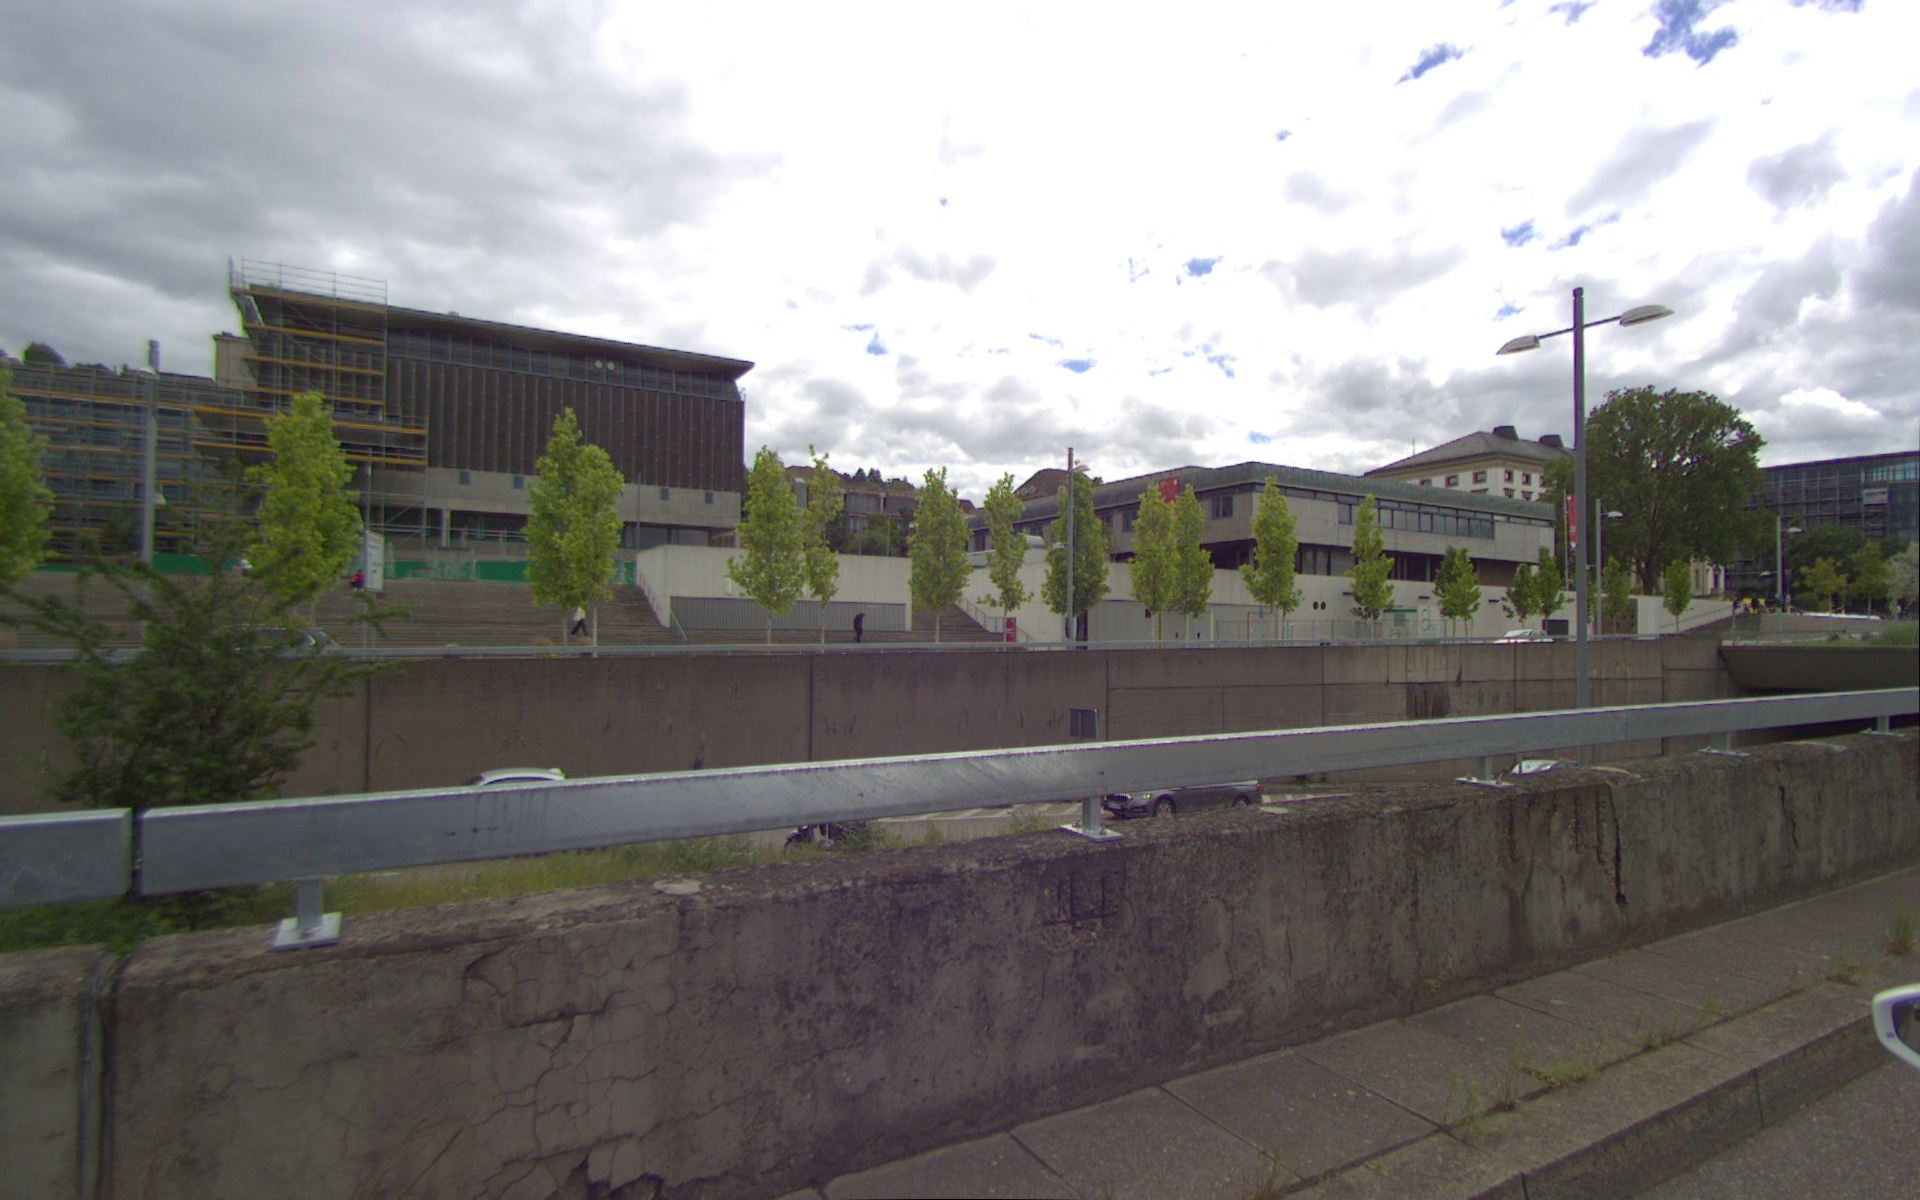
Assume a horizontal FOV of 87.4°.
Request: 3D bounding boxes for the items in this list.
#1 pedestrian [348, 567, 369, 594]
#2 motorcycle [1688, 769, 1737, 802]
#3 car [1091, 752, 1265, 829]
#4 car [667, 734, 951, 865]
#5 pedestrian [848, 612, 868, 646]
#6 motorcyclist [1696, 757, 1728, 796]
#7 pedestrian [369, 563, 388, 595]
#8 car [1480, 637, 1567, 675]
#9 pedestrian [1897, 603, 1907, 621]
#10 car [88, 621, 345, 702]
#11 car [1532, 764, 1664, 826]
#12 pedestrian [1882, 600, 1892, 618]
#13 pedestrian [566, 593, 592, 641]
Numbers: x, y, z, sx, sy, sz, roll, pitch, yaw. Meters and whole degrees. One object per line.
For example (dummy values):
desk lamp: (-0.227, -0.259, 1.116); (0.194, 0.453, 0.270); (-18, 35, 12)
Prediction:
pedestrian: (-26.856, -0.868, 44.853); (0.761, 0.957, 0.718); (0, 24, -36)
motorcycle: (28.073, 6.898, 37.454); (2.027, 1.112, 0.682); (4, -6, -30)
car: (5.684, 4.850, 25.993); (4.343, 1.633, 1.860); (5, -5, -32)
car: (-2.581, 3.320, 17.398); (4.465, 1.696, 1.985); (1, -5, -30)
pedestrian: (-5.027, 1.428, 49.554); (0.777, 1.664, 0.741); (-2, -1, 5)
motorcyclist: (28.050, 6.585, 37.468); (0.710, 1.368, 0.666); (4, -7, -30)
pedestrian: (-26.226, -0.940, 45.260); (0.619, 1.258, 0.665); (1, 21, -36)
car: (27.723, 2.743, 49.428); (3.953, 1.786, 1.985); (1, -5, -30)
pedestrian: (106.202, 1.369, 113.193); (0.730, 2.040, 0.789); (-2, -1, 40)
car: (-15.843, 1.371, 21.736); (4.226, 1.603, 1.828); (3, -6, -31)
car: (19.414, 5.868, 30.519); (4.100, 1.508, 1.766); (4, -5, -31)
pedestrian: (105.621, 1.056, 114.406); (0.730, 2.040, 0.789); (-2, -1, 40)
pedestrian: (-16.449, 0.738, 43.344); (0.777, 2.040, 0.741); (-2, -1, 1)
